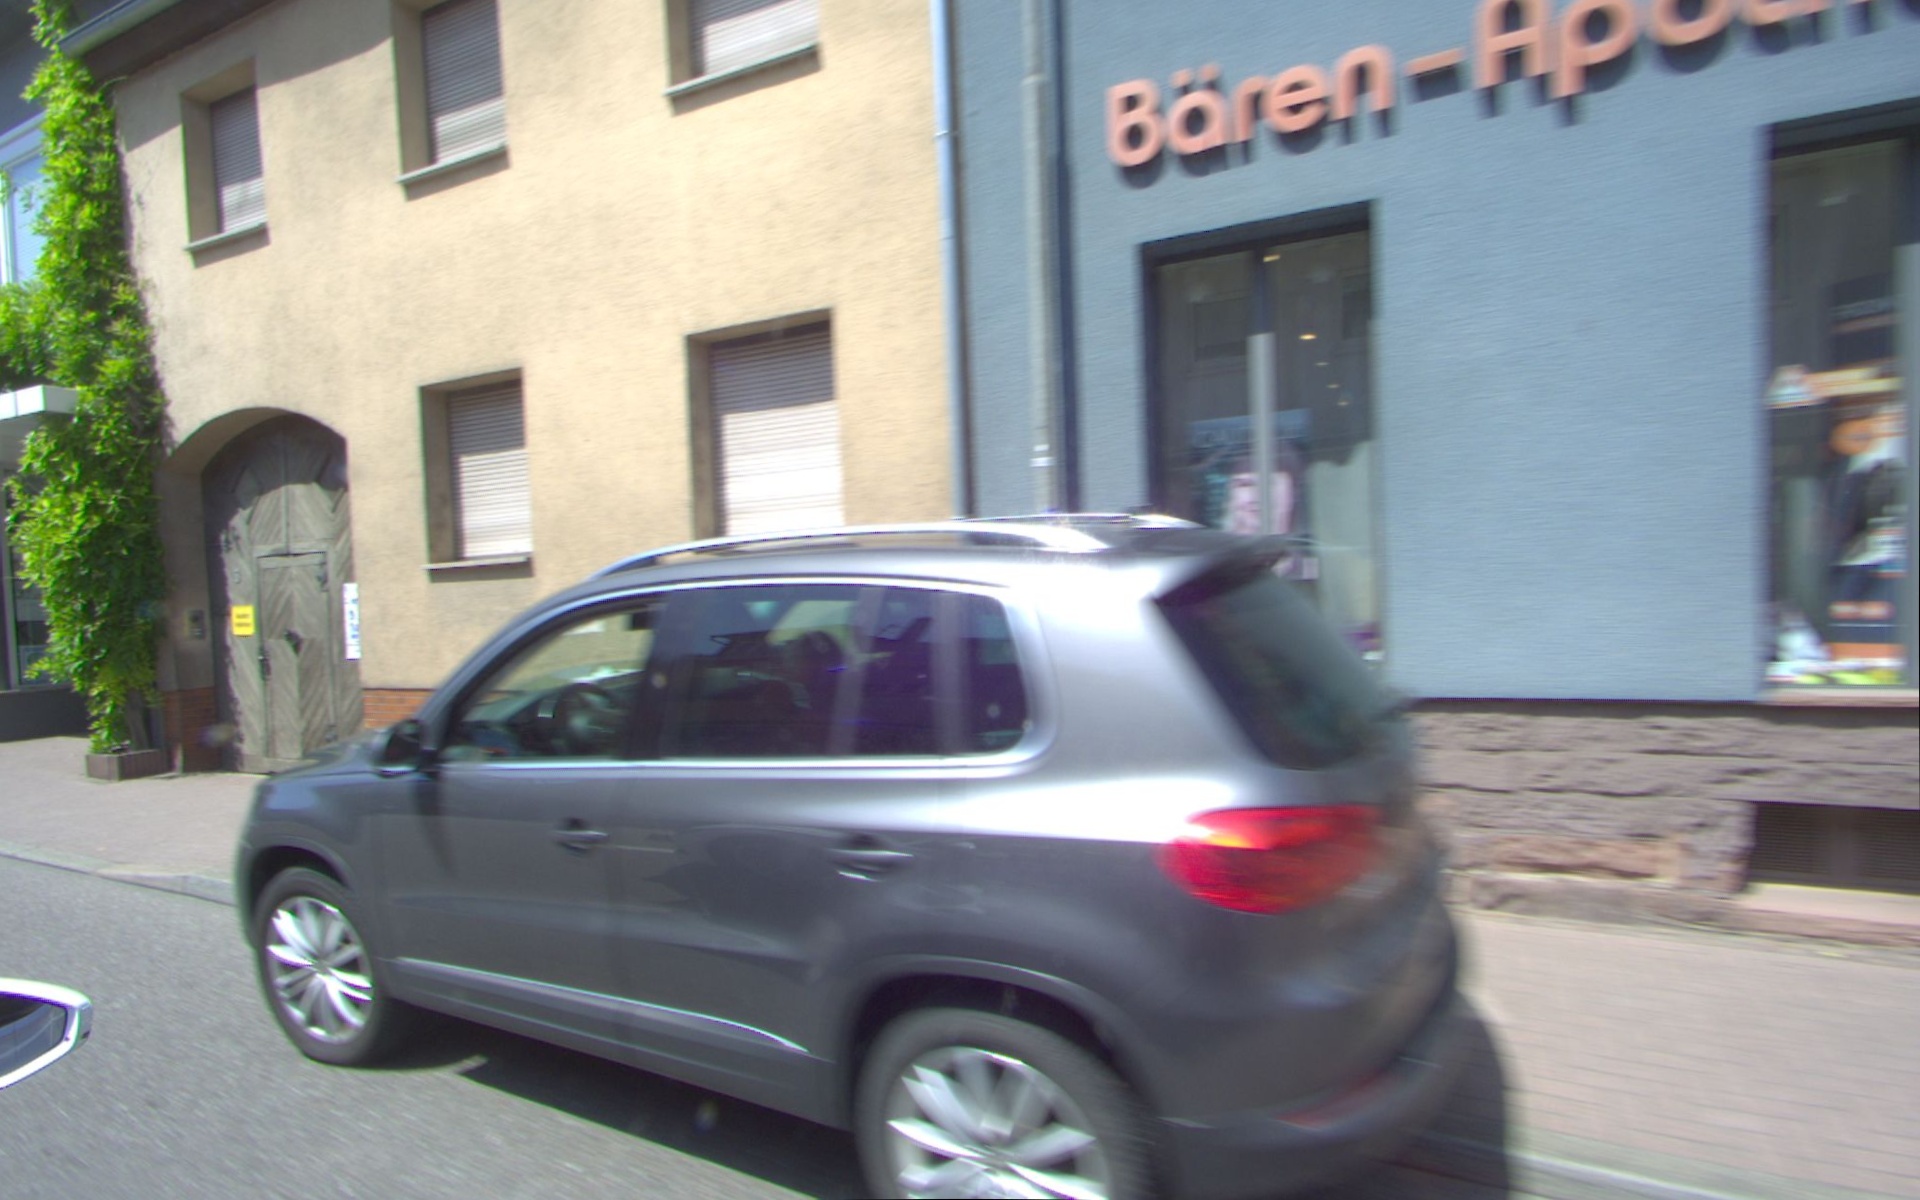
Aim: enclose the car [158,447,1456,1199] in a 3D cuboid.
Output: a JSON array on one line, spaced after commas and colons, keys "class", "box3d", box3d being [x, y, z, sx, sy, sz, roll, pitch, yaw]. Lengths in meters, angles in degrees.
[{"class": "car", "box3d": [-0.581, 0.600, 3.478, 4.039, 1.732, 1.989, -1, 3, 29]}]
